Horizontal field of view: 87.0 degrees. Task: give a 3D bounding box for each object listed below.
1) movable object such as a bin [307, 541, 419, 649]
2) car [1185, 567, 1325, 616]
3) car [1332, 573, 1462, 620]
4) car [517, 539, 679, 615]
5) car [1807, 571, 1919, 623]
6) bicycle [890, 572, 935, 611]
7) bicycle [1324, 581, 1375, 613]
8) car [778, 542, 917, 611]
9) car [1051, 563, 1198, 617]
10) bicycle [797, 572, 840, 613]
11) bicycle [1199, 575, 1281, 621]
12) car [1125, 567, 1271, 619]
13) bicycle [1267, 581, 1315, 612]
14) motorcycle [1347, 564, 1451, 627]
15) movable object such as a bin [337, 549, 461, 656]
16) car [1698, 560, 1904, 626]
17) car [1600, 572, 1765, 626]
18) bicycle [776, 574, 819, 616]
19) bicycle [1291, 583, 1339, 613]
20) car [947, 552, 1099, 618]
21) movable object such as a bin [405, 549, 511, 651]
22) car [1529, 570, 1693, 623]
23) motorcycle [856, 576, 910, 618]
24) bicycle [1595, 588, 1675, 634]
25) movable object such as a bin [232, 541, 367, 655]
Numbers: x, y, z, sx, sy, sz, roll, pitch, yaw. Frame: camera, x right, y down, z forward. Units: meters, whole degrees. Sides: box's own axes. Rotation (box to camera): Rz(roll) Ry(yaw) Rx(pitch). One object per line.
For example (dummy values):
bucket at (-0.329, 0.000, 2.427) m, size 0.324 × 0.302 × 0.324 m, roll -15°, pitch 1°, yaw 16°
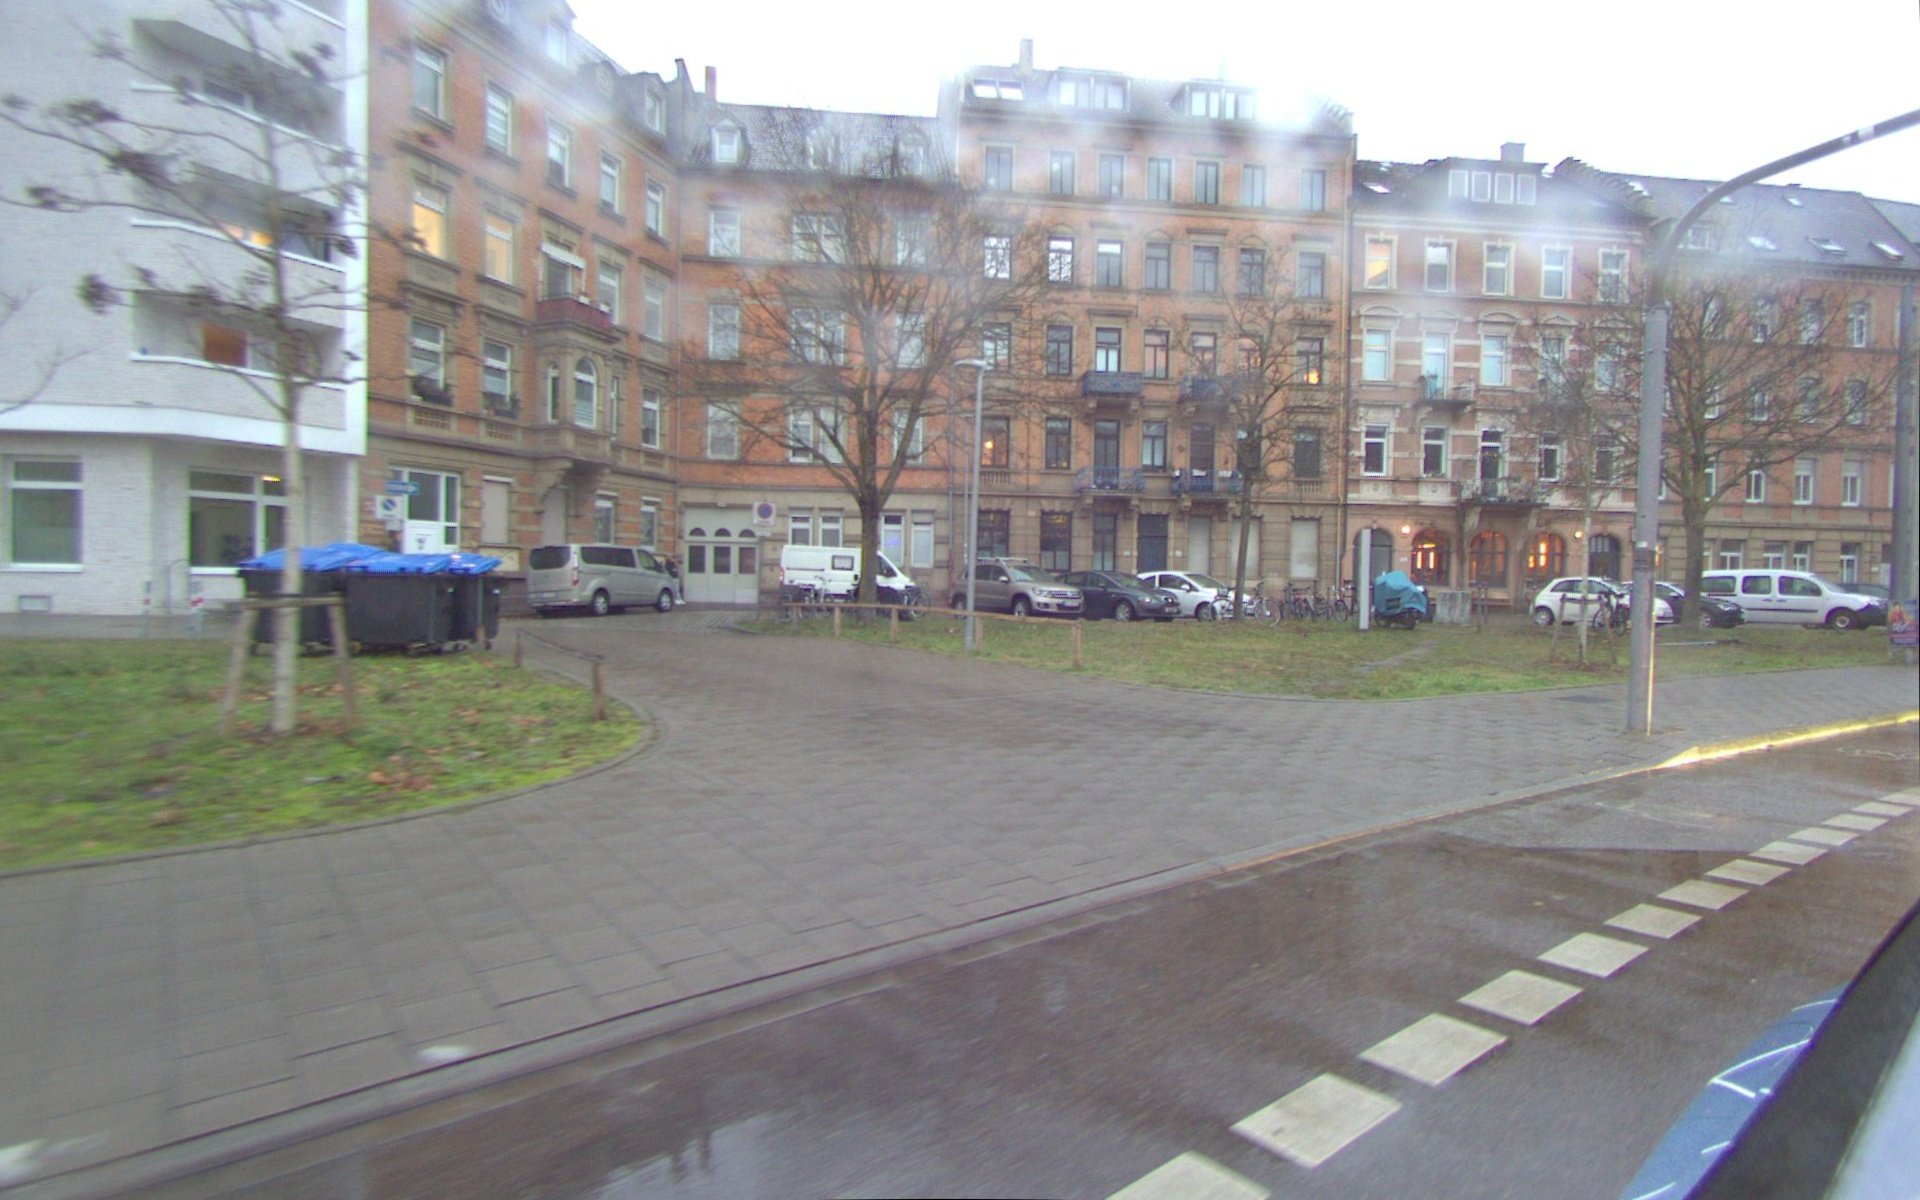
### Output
movable object such as a bin at (-9.225, -0.083, 15.687) m, size 1.118 × 1.595 × 1.053 m, roll 1°, pitch 1°, yaw -1°
car at (8.396, -0.275, 29.045) m, size 1.493 × 1.322 × 3.687 m, roll 0°, pitch 2°, yaw -37°
car at (13.110, -0.142, 30.527) m, size 1.492 × 1.322 × 3.301 m, roll 0°, pitch 2°, yaw -36°
car at (-10.177, -0.665, 28.865) m, size 1.919 × 1.966 × 4.569 m, roll 1°, pitch 1°, yaw 20°
car at (27.522, -0.100, 29.521) m, size 1.668 × 1.463 × 3.968 m, roll 0°, pitch 1°, yaw -31°
bicycle at (-1.315, -0.245, 27.633) m, size 0.437 × 0.942 × 1.798 m, roll 0°, pitch 3°, yaw -30°
bicycle at (11.523, -0.096, 29.972) m, size 0.386 × 0.827 × 1.800 m, roll 1°, pitch 3°, yaw -16°
car at (-3.873, -0.792, 34.698) m, size 4.566 × 2.216 × 2.003 m, roll 1°, pitch 1°, yaw -8°
car at (4.281, -0.299, 26.766) m, size 1.710 × 1.322 × 3.687 m, roll 0°, pitch 2°, yaw -37°
bicycle at (-3.631, -0.208, 25.857) m, size 0.437 × 0.942 × 1.798 m, roll 0°, pitch 3°, yaw -30°
bicycle at (6.817, -0.069, 24.697) m, size 1.879 × 1.031 × 0.535 m, roll 2°, pitch 3°, yaw 14°
car at (6.418, -0.226, 27.642) m, size 1.638 × 1.322 × 3.687 m, roll 0°, pitch 2°, yaw -37°
bicycle at (9.704, -0.113, 29.719) m, size 0.436 × 0.804 × 1.800 m, roll 1°, pitch 3°, yaw -13°
motorcycle at (10.709, -0.144, 24.806) m, size 0.866 × 1.362 × 2.364 m, roll 0°, pitch 4°, yaw -22°
movable object such as a bin at (-7.996, 0.023, 14.481) m, size 1.201 × 1.450 × 1.053 m, roll 1°, pitch 1°, yaw -1°
car at (24.508, -0.259, 29.658) m, size 1.748 × 1.790 × 4.345 m, roll 0°, pitch 2°, yaw -36°
car at (21.264, -0.070, 29.908) m, size 1.492 × 1.454 × 3.688 m, roll 0°, pitch 2°, yaw -35°
bicycle at (-4.120, -0.149, 25.554) m, size 0.437 × 0.942 × 1.798 m, roll 0°, pitch 3°, yaw -30°
bicycle at (10.382, -0.066, 29.655) m, size 0.436 × 0.787 × 1.800 m, roll 1°, pitch 3°, yaw -13°
car at (1.581, -0.420, 26.673) m, size 1.710 × 1.589 × 4.155 m, roll 0°, pitch 2°, yaw -37°
movable object such as a bin at (-7.715, -0.018, 15.600) m, size 1.118 × 1.504 × 1.053 m, roll 1°, pitch 1°, yaw -1°
car at (18.683, -0.136, 29.169) m, size 1.492 × 1.417 × 3.688 m, roll 0°, pitch 2°, yaw -35°
motorcycle at (-1.972, -0.092, 25.692) m, size 0.503 × 0.942 × 1.796 m, roll 0°, pitch 4°, yaw -36°
bicycle at (15.899, 0.241, 23.883) m, size 0.437 × 0.942 × 1.799 m, roll 1°, pitch 3°, yaw -8°
movable object such as a bin at (-9.302, -0.041, 14.301) m, size 1.229 × 1.529 × 1.053 m, roll 1°, pitch 1°, yaw -1°
